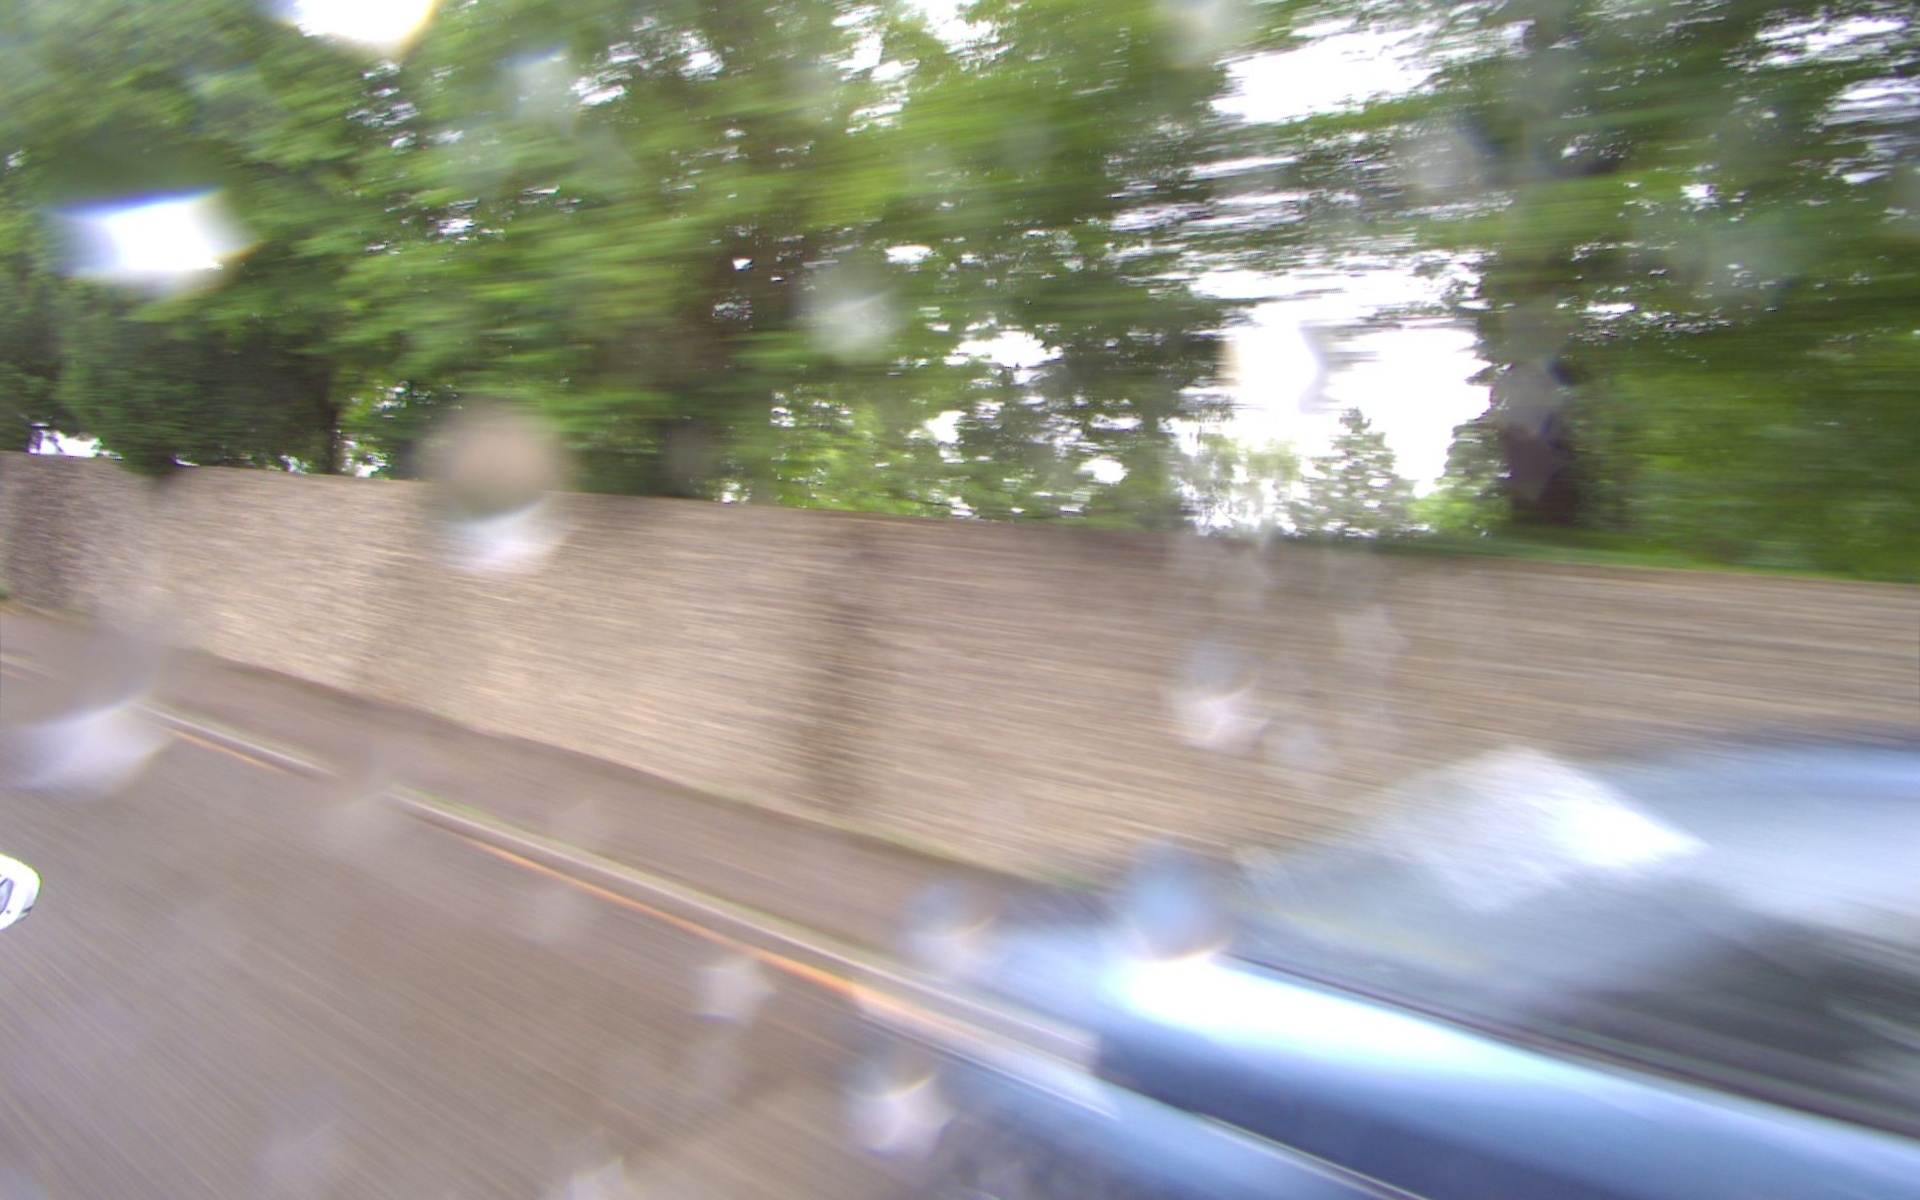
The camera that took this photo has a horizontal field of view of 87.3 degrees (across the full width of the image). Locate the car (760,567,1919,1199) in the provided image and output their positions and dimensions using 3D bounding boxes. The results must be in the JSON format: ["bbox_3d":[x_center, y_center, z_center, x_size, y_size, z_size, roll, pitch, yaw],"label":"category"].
[{"bbox_3d":[1.693,0.975,1.863,3.736,1.551,1.793,7,-1,31],"label":"car"}]
